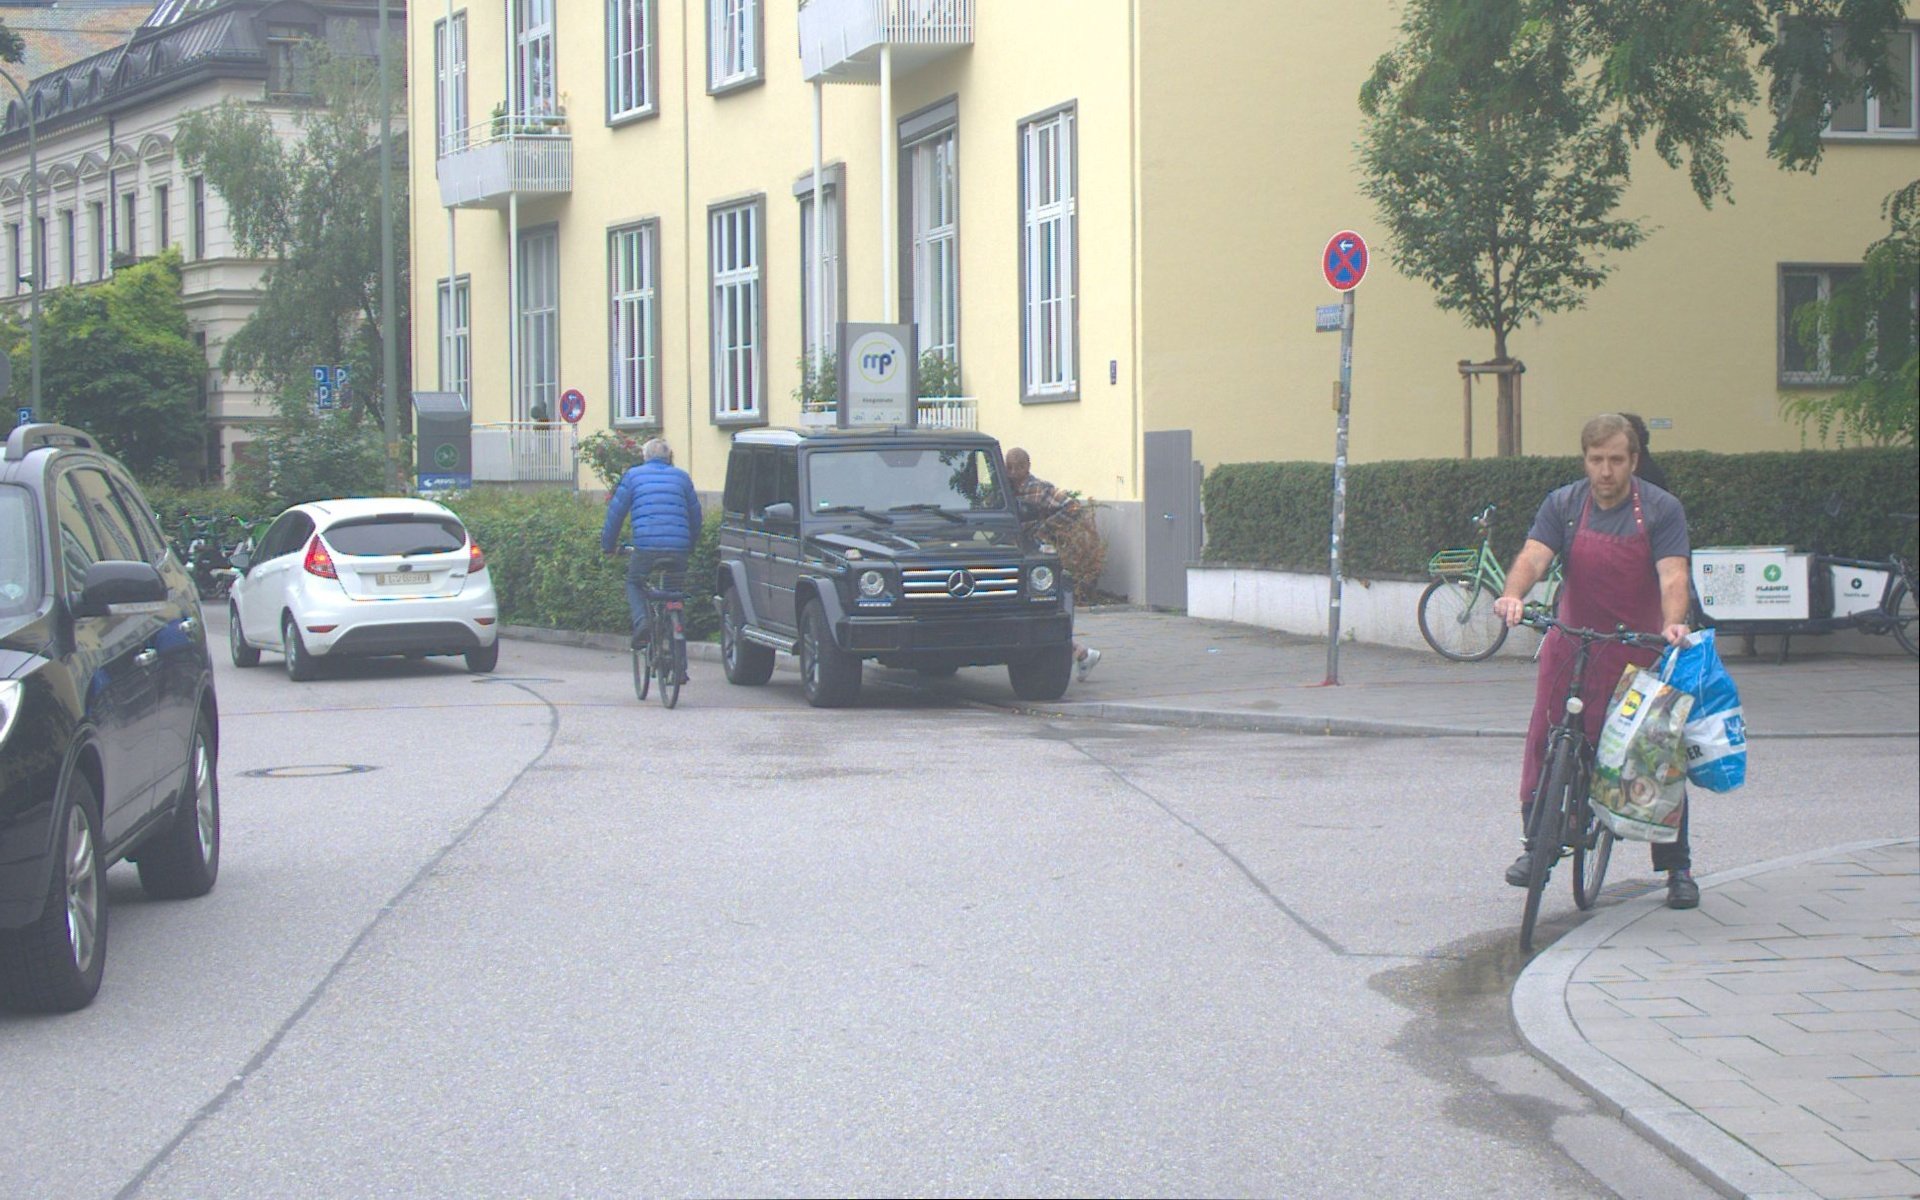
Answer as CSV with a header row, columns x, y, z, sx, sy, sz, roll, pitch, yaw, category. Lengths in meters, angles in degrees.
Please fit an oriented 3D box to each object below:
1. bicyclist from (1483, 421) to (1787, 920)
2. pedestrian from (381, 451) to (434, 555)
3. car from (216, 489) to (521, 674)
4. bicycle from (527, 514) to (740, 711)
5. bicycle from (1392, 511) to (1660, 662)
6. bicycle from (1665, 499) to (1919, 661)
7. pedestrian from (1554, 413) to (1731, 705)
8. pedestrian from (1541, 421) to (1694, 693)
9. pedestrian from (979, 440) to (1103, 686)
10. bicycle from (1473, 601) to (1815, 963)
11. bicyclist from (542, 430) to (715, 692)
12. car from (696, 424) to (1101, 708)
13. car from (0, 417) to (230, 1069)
x,y,z,sx,sy,sz,roll,pitch,yaw,category
2.254,0.207,11.596,0.875,1.603,1.049,0,2,4,bicyclist
-9.085,-1.596,56.530,0.631,1.678,0.698,-3,3,-25,pedestrian
-5.031,-0.211,28.876,1.747,1.401,3.728,-2,3,-22,car
-2.301,0.051,23.923,0.920,1.248,2.322,-1,3,-19,bicycle
4.171,-0.090,25.439,1.948,1.081,0.528,-1,1,41,bicycle
6.097,-0.145,24.240,2.169,1.111,0.640,0,2,15,bicycle
4.296,-0.267,21.688,0.990,1.803,0.660,-1,2,2,pedestrian
4.286,-0.290,22.449,0.826,1.740,0.741,-1,2,-3,pedestrian
0.587,-0.286,25.180,0.848,1.751,0.954,-1,2,0,pedestrian
2.273,0.564,11.695,0.876,1.016,2.191,0,3,4,bicycle
-2.318,-0.291,23.932,0.914,1.758,1.216,-1,3,-19,bicyclist
-0.570,-0.329,25.391,1.873,1.881,4.620,-1,3,-16,car
-3.637,0.294,11.224,1.993,1.713,4.616,-1,3,-7,car
